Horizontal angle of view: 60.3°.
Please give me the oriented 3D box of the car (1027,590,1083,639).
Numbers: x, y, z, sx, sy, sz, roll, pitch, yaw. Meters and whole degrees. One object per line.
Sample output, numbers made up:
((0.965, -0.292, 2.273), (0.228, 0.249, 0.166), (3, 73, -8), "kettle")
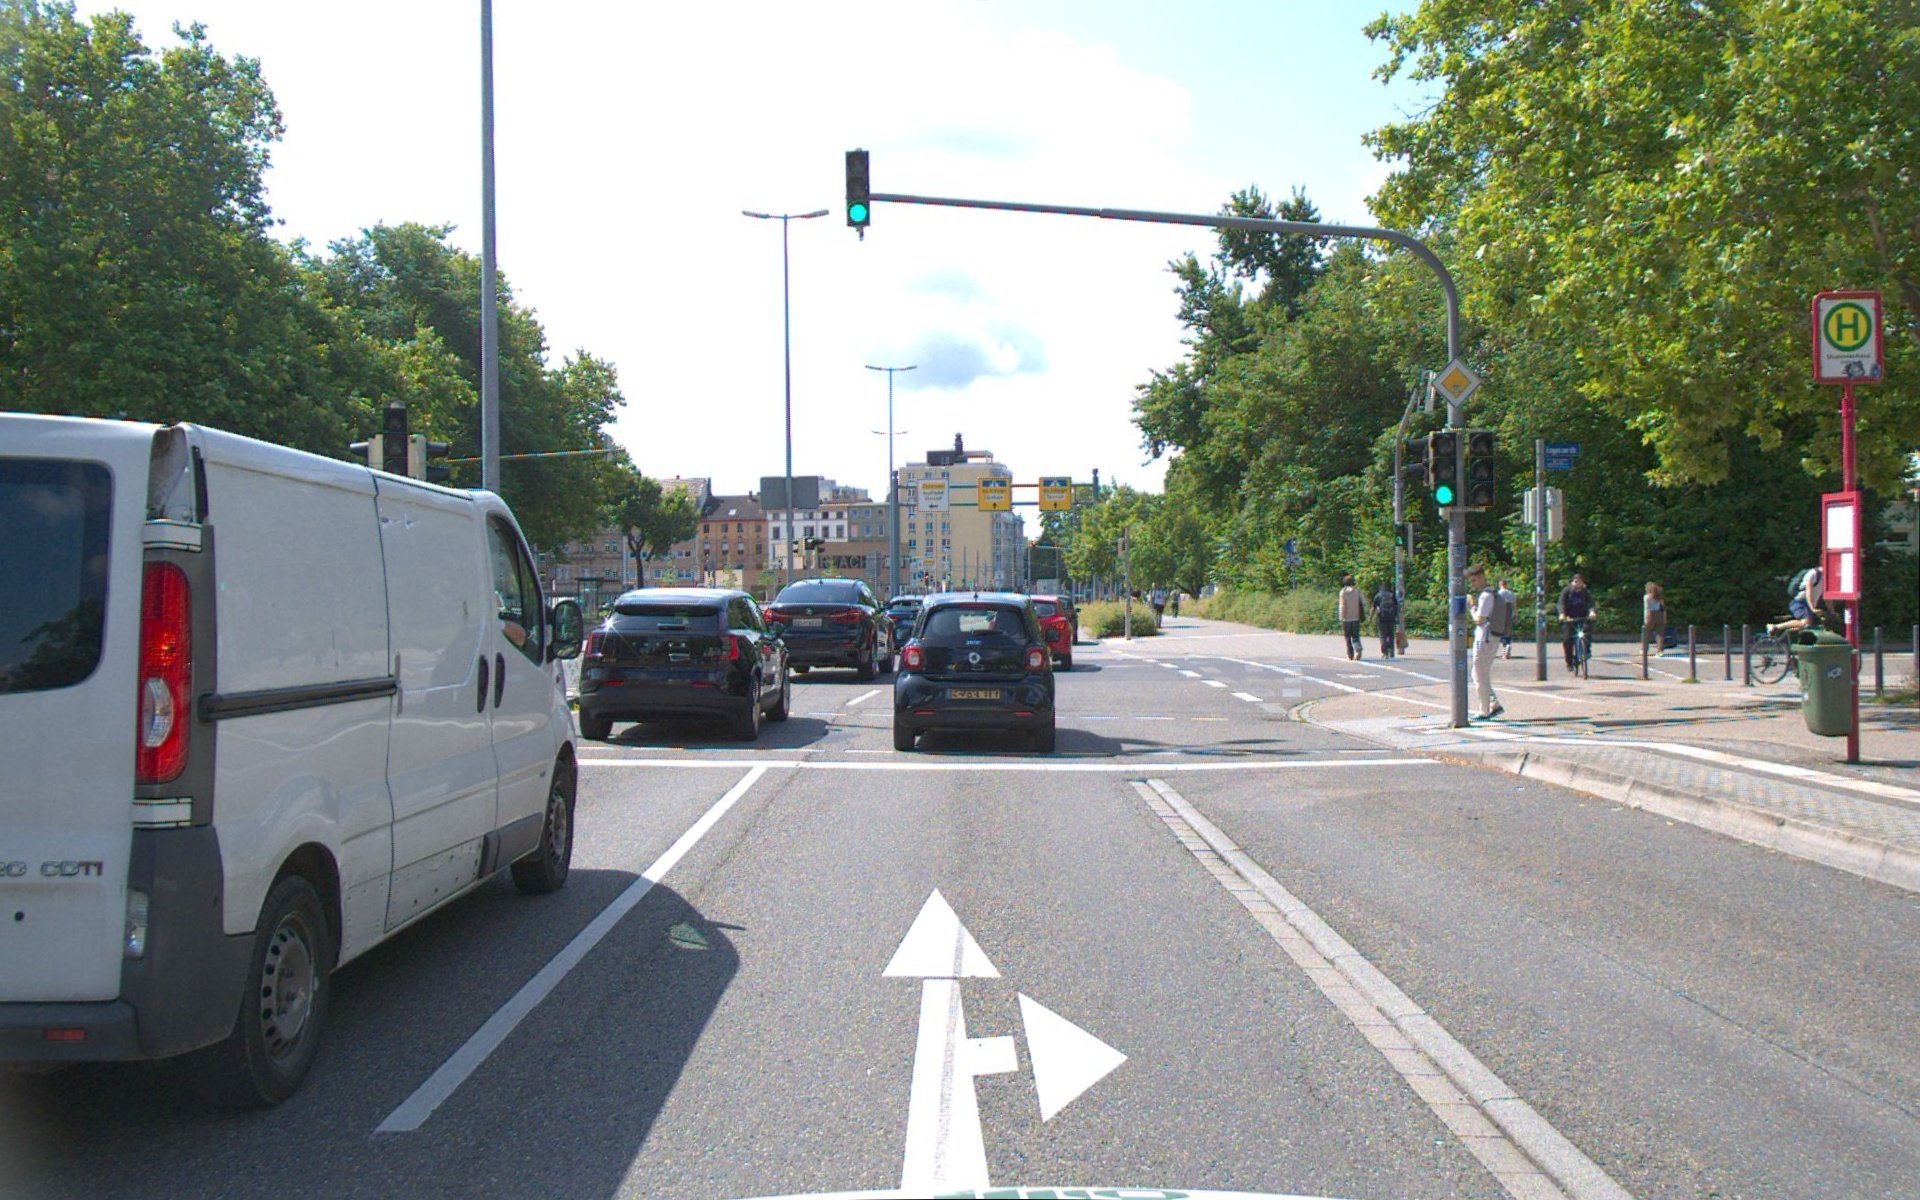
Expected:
((2.876, 0.416, 50.802), (1.578, 1.436, 3.518), (1, 0, 1), "car")

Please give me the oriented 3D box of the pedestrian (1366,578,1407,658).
((9.522, 0.386, 36.937), (0.778, 1.734, 1.183), (0, 1, 9), "pedestrian")

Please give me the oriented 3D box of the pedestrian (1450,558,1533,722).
((6.130, 0.453, 19.086), (0.589, 1.832, 0.603), (-3, 0, -36), "pedestrian")

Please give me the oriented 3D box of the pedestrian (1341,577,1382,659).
((8.627, 0.370, 35.582), (0.778, 1.734, 1.183), (0, 1, 9), "pedestrian")

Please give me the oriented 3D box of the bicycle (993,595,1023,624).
((3.400, 0.670, 118.560), (1.953, 2.049, 3.999), (1, 0, -1), "bicycle")

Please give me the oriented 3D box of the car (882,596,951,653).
((-1.063, 0.598, 41.819), (1.578, 1.348, 3.518), (0, 0, 1), "car")

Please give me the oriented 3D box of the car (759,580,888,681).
((-2.316, 0.466, 29.068), (1.789, 1.629, 4.394), (0, 1, 1), "car")

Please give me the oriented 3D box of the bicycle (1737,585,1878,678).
((12.537, 0.452, 24.532), (0.652, 1.319, 1.860), (1, 0, -25), "bicycle")

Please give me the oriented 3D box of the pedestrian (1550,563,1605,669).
((11.021, 0.282, 29.557), (0.836, 1.852, 1.176), (0, 0, 17), "pedestrian")

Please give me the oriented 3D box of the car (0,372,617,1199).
((-2.847, 0.438, 6.517), (1.965, 1.989, 5.193), (0, 0, -1), "car")

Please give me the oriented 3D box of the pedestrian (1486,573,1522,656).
((12.350, 0.326, 37.559), (0.656, 1.852, 0.704), (0, 1, 9), "pedestrian")

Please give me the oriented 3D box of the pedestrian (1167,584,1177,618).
((11.945, 0.042, 93.120), (0.491, 1.923, 0.560), (1, 0, -1), "pedestrian")

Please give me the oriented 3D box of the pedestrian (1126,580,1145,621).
((8.776, 0.029, 82.746), (0.821, 2.003, 0.861), (-1, 0, -1), "pedestrian")

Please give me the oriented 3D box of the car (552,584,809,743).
((-2.969, 0.605, 18.707), (1.975, 1.557, 4.888), (0, 0, 1), "car")

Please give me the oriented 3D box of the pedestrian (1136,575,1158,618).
((8.321, -0.164, 73.556), (0.821, 1.901, 1.019), (-1, 0, -1), "pedestrian")

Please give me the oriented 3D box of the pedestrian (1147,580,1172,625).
((7.795, 0.090, 64.573), (0.833, 1.730, 0.931), (-2, 0, 1), "pedestrian")

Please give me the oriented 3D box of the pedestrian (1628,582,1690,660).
((15.516, 0.451, 36.736), (0.839, 1.654, 1.018), (-2, 2, -9), "pedestrian")

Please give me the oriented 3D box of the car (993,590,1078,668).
((1.465, 0.540, 32.998), (1.578, 1.436, 3.518), (1, 0, 1), "car")

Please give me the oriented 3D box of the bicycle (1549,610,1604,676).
((10.974, 0.744, 29.493), (0.798, 1.091, 1.892), (0, 1, 17), "bicycle")

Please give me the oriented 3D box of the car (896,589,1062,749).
((0.222, 0.664, 17.586), (1.578, 1.511, 3.518), (1, 0, 1), "car")

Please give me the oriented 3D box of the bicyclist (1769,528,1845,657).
((12.548, -0.100, 24.522), (0.652, 1.877, 0.756), (1, 0, -24), "bicyclist")
